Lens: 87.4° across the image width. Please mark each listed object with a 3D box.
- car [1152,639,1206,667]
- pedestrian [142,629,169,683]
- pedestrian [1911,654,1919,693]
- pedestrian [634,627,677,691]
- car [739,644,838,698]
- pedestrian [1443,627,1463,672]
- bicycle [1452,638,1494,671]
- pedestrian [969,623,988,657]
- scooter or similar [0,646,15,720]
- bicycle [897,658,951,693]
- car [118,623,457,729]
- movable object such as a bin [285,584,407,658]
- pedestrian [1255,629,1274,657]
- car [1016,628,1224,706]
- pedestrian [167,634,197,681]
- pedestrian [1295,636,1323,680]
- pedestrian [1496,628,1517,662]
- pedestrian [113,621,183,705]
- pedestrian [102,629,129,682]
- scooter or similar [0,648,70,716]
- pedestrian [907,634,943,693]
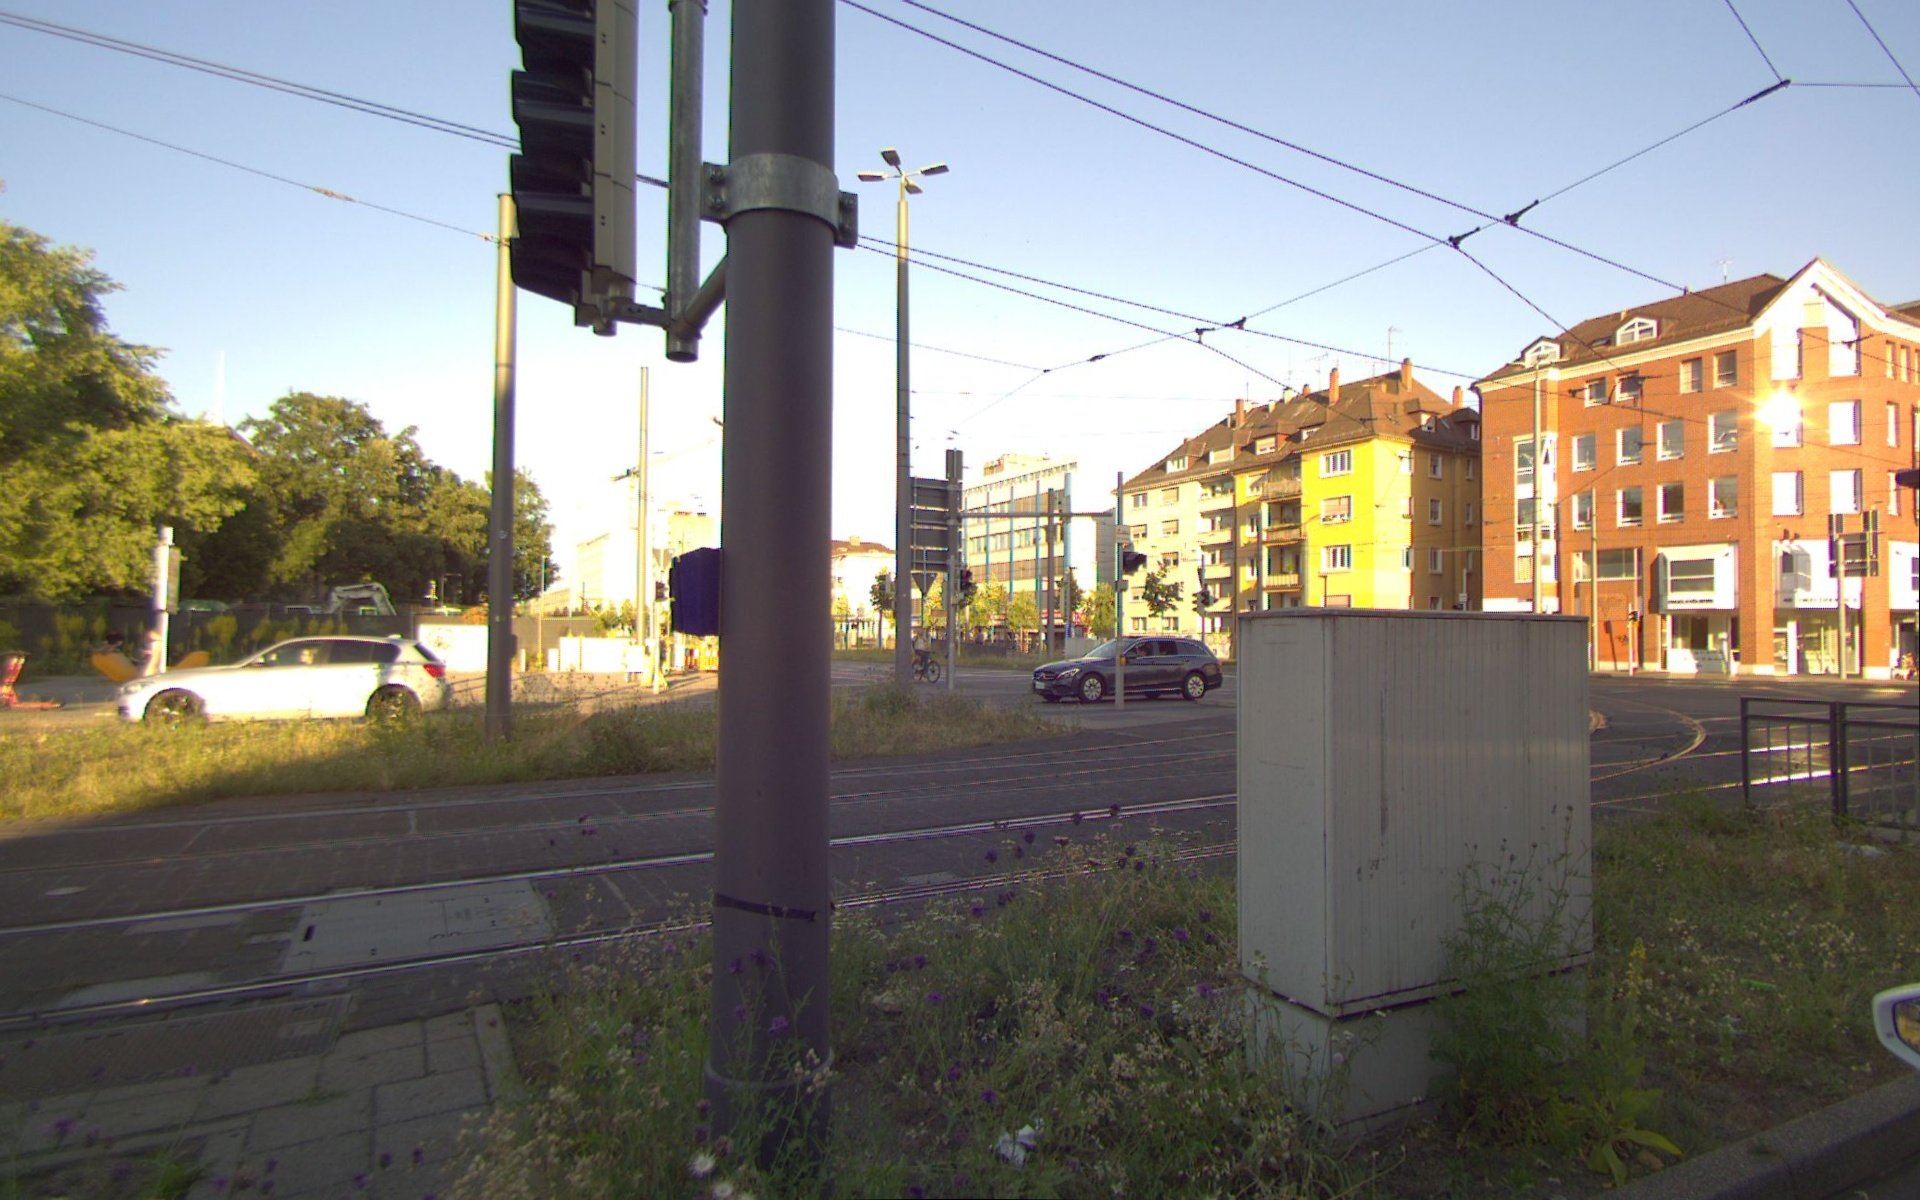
[{"bbox_3d":[17.417,4.195,79.975,1.978,2.040,3.966,1,-1,-32],"label":"car"},{"bbox_3d":[-25.803,1.791,32.217,0.594,1.680,0.531,1,-2,-34],"label":"pedestrian"},{"bbox_3d":[47.978,3.680,50.013,0.665,1.893,0.634,1,0,0],"label":"pedestrian"},{"bbox_3d":[-9.591,1.843,31.648,1.088,1.970,1.016,1,-2,-31],"label":"pedestrian"},{"bbox_3d":[-5.906,2.357,34.227,1.976,1.639,4.532,1,-2,-29],"label":"car"},{"bbox_3d":[21.129,2.104,43.057,0.556,1.893,0.499,1,0,-31],"label":"pedestrian"},{"bbox_3d":[21.897,2.325,42.846,1.992,1.343,0.615,1,0,-30],"label":"bicycle"},{"bbox_3d":[1.044,2.247,56.925,0.711,1.892,0.880,-2,-3,44],"label":"pedestrian"},{"bbox_3d":[-19.490,1.642,19.724,0.507,1.465,1.257,0,-2,11],"label":"scooter or similar"},{"bbox_3d":[-1.243,2.554,34.188,0.886,1.074,1.989,2,-2,-36],"label":"bicycle"},{"bbox_3d":[-10.150,1.115,15.567,4.150,1.467,1.662,1,-2,-29],"label":"car"},{"bbox_3d":[-28.178,1.001,46.245,4.268,3.271,1.996,1,-2,-12],"label":"movable object such as a bin"},{"bbox_3d":[20.936,2.965,69.095,0.830,1.893,0.934,1,0,-35],"label":"pedestrian"},{"bbox_3d":[3.658,1.475,22.896,4.424,1.606,1.986,1,-2,-29],"label":"car"},{"bbox_3d":[-25.267,1.852,32.611,0.617,1.515,0.637,1,-2,-26],"label":"pedestrian"},{"bbox_3d":[15.401,2.548,44.336,0.924,1.893,0.839,1,0,4],"label":"pedestrian"},{"bbox_3d":[31.099,2.545,57.142,0.657,1.893,0.799,1,0,-34],"label":"pedestrian"},{"bbox_3d":[-18.872,1.455,23.369,0.961,1.892,0.882,1,-2,-18],"label":"pedestrian"},{"bbox_3d":[-27.000,1.759,32.122,0.529,1.680,0.596,-2,-3,45],"label":"pedestrian"},{"bbox_3d":[-18.621,1.611,19.967,0.507,1.288,1.255,-1,-2,24],"label":"scooter or similar"},{"bbox_3d":[-1.183,2.140,34.118,0.887,1.936,0.837,1,-2,-37],"label":"pedestrian"}]
